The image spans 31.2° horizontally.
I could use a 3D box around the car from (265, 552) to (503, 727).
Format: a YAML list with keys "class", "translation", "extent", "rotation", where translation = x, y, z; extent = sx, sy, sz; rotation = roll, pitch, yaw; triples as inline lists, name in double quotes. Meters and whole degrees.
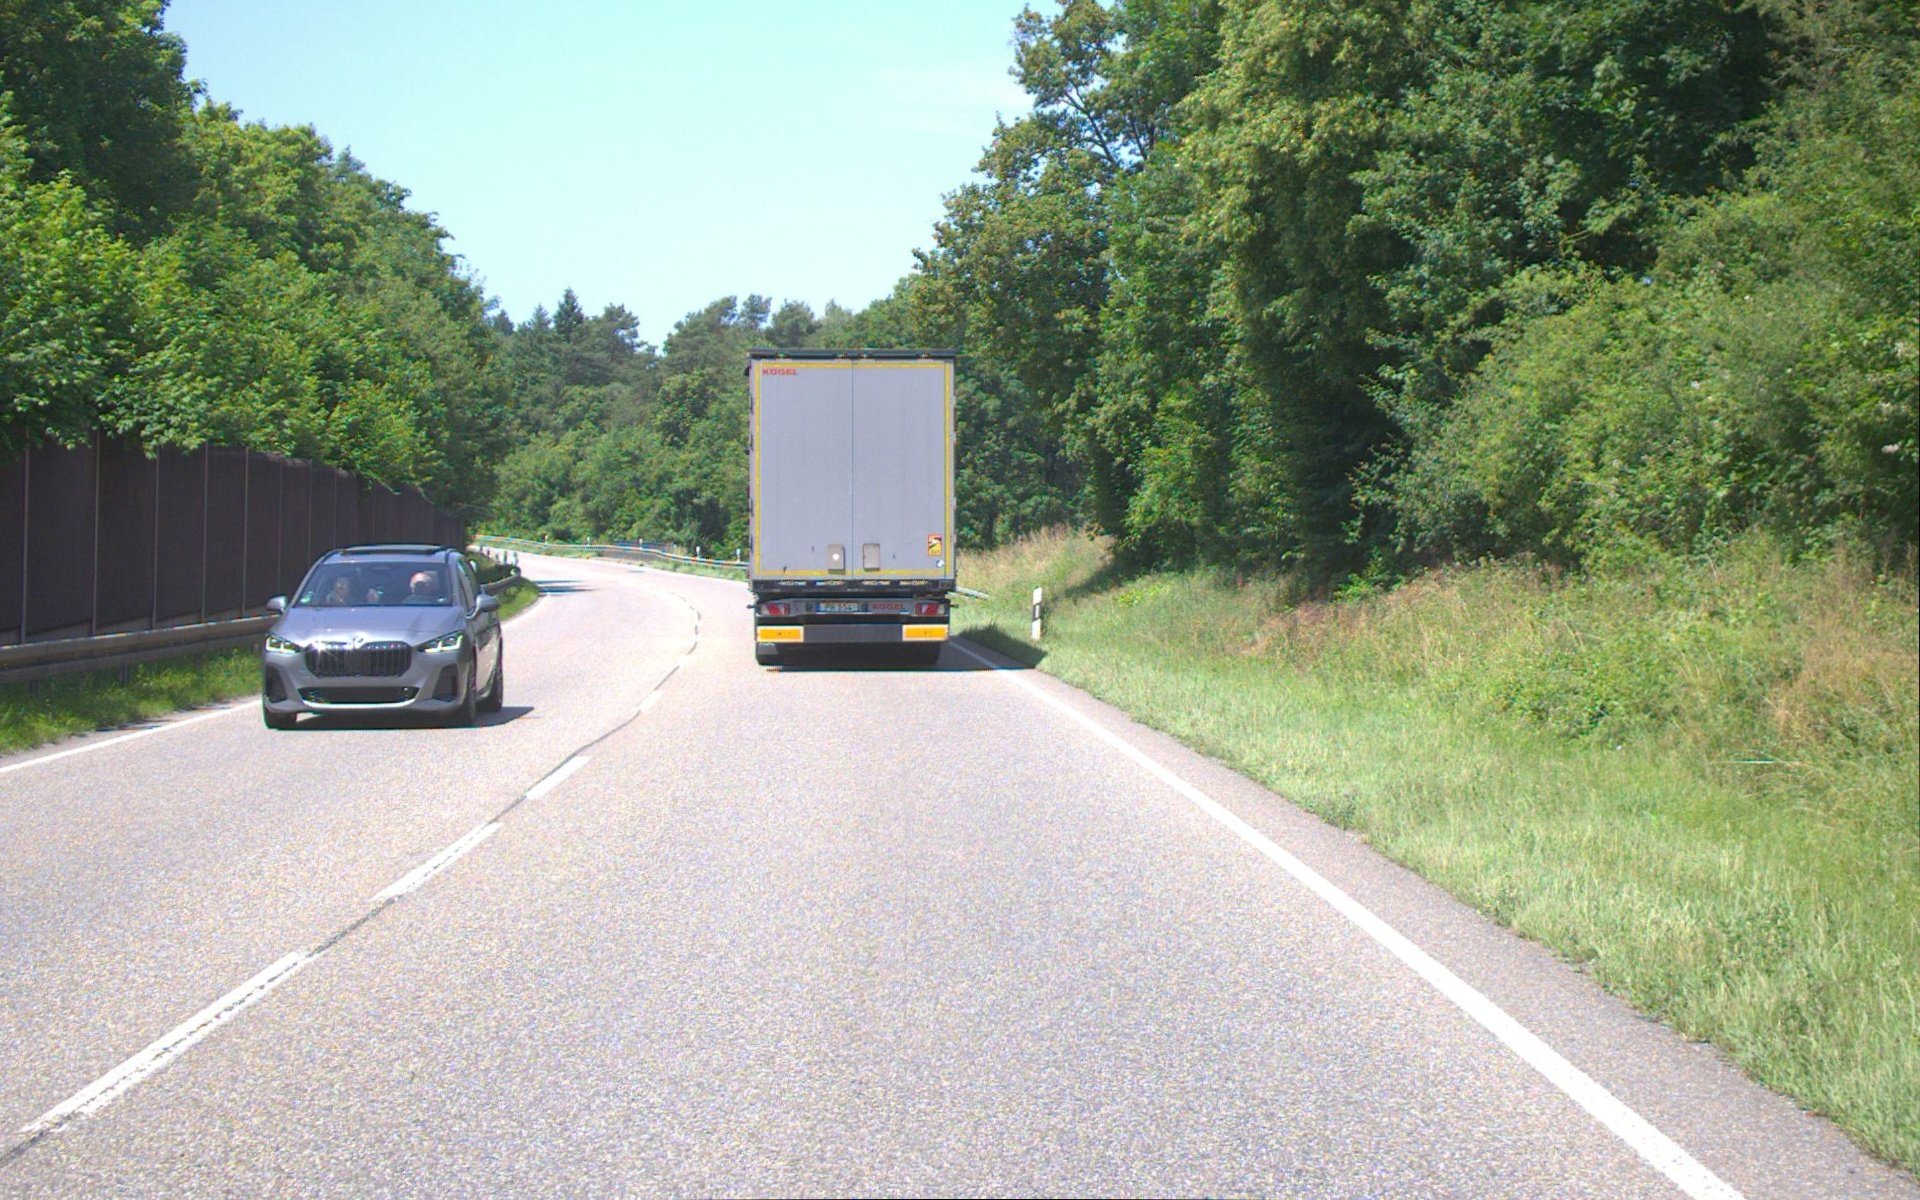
- class: "car"
  translation: [-5.137, 0.310, 31.054]
  extent: [1.617, 1.486, 3.617]
  rotation: [0, 1, -1]

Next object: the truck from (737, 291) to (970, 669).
- class: "truck"
  translation: [-1.403, -1.463, 45.301]
  extent: [2.822, 4.588, 6.665]
  rotation: [0, 0, -2]
